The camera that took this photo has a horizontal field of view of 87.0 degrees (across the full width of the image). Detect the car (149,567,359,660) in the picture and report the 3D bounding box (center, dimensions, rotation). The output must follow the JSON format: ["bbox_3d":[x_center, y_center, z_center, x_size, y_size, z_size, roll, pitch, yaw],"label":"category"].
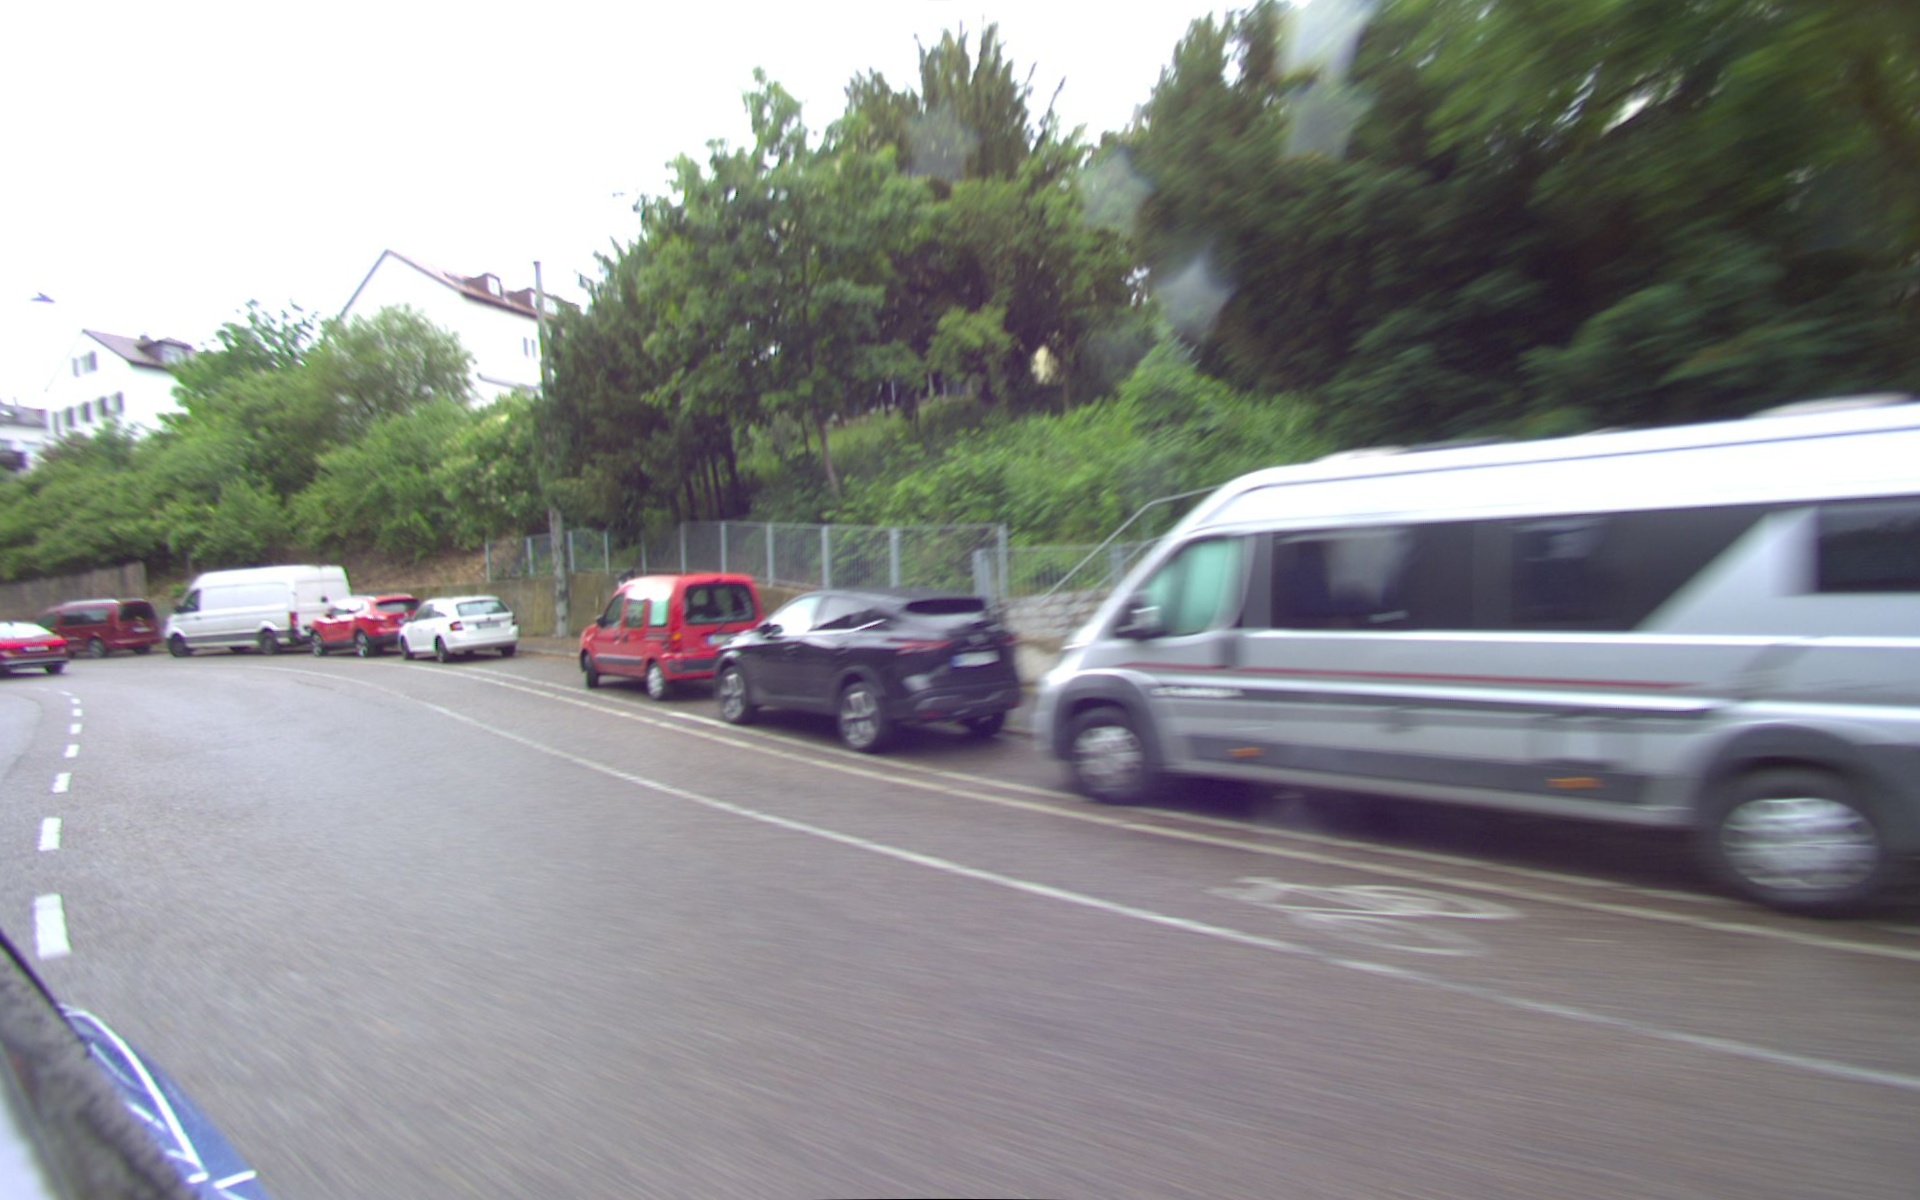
[{"bbox_3d":[-21.989,0.441,31.447,6.780,2.549,2.025,-2,2,24],"label":"car"}]

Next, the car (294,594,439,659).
[{"bbox_3d":[-16.501,0.739,28.075,4.423,1.597,1.760,-2,2,35],"label":"car"}]

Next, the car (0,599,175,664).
[{"bbox_3d":[-29.704,1.049,34.373,4.765,1.890,1.996,-2,2,8],"label":"car"}]

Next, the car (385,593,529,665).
[{"bbox_3d":[-12.236,0.691,24.509,4.199,1.490,1.719,-2,3,44],"label":"car"}]

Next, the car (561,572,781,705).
[{"bbox_3d":[-4.654,0.500,15.923,1.729,1.781,4.143,-2,2,-41],"label":"car"}]

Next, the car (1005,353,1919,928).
[{"bbox_3d":[3.413,0.147,6.638,6.343,2.569,2.052,1,1,41],"label":"car"}]

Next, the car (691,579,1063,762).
[{"bbox_3d":[-1.125,0.621,11.499,1.969,1.631,4.404,-2,2,-41],"label":"car"}]

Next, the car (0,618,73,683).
[{"bbox_3d":[-26.275,1.334,27.434,4.463,1.527,1.856,0,4,28],"label":"car"}]
